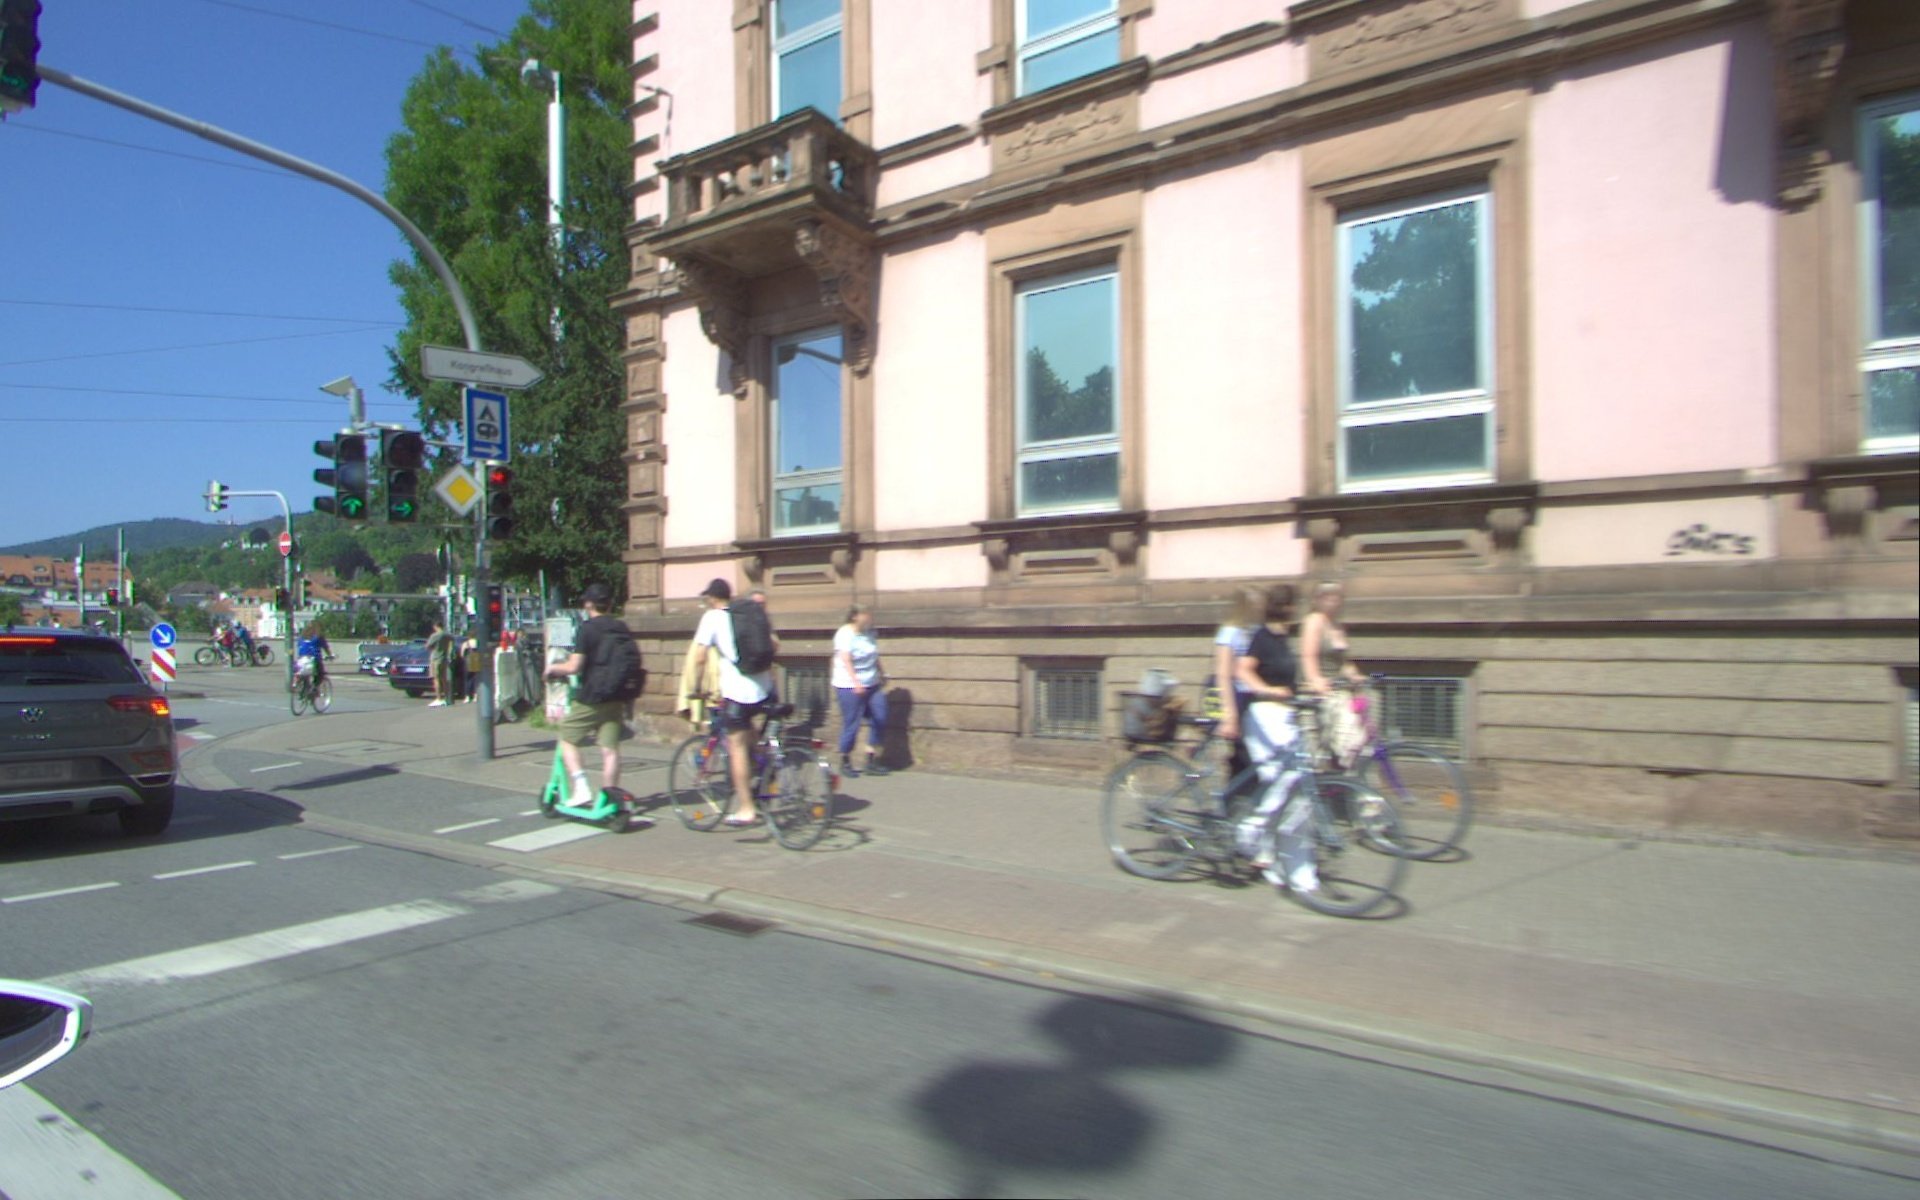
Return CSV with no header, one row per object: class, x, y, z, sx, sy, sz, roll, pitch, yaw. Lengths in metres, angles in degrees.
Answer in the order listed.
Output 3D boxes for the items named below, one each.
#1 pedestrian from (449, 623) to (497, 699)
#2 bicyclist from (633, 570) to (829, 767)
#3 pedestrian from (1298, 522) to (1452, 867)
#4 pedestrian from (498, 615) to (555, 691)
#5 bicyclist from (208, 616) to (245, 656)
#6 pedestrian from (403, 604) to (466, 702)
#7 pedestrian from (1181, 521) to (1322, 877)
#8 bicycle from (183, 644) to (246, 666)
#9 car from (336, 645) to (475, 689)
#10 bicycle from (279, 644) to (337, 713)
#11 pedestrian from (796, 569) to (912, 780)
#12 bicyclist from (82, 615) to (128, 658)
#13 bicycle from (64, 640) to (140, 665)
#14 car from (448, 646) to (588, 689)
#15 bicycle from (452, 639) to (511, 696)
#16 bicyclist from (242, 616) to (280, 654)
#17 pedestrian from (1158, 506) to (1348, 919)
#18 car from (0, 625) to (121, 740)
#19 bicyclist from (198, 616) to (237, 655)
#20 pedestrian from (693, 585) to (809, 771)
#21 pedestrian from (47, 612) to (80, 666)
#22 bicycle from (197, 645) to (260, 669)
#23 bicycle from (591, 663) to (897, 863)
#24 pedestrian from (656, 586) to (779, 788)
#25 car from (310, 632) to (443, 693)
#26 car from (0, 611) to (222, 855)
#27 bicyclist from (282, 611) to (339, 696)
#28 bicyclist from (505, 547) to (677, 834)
pedestrian,-11.418,1.405,23.481,0.880,1.733,0.672,0,0,34
bicyclist,-1.570,0.438,6.937,0.958,1.235,0.919,0,0,31
pedestrian,2.689,0.554,6.461,0.803,2.041,0.810,0,2,31
pedestrian,-10.755,1.319,24.862,0.690,1.803,1.057,-4,-3,21
bicyclist,-28.675,1.407,39.160,1.068,1.492,0.758,2,-2,-30
pedestrian,-11.284,1.114,21.511,1.044,2.040,0.773,0,0,32
pedestrian,1.815,0.569,6.199,0.689,2.041,0.659,0,1,31
bicycle,-29.557,2.188,39.710,0.559,0.837,1.930,0,-2,41
car,-21.218,2.513,38.534,1.818,1.413,4.470,0,0,26
bicycle,-12.320,1.444,18.969,0.607,1.179,2.241,1,-1,-25
pedestrian,-1.011,0.673,9.573,0.890,1.917,0.633,0,1,31
bicyclist,-29.976,1.282,35.120,0.791,1.492,1.075,0,-2,41
bicycle,-29.986,1.842,35.014,0.559,0.837,1.930,0,-2,41
car,-15.512,2.325,35.363,1.852,1.375,4.303,0,-2,27
bicycle,-11.220,1.601,23.444,0.792,1.220,2.261,-2,-3,-36
bicyclist,-28.195,1.413,40.383,0.918,1.492,1.074,0,-2,45
pedestrian,1.620,0.552,5.479,0.803,2.041,0.810,0,2,31
car,-14.391,1.149,14.963,4.231,1.509,1.987,0,-2,38
bicyclist,-29.474,1.415,39.756,0.918,1.492,1.074,0,-2,43
pedestrian,-2.104,0.760,10.107,0.890,1.775,0.704,-1,0,31
pedestrian,-31.891,1.372,35.615,0.637,1.879,0.770,0,-1,40
bicycle,-28.629,2.233,39.213,1.918,0.864,0.562,3,-2,-30
bicycle,-1.529,1.042,6.943,2.107,1.117,0.777,0,1,31
pedestrian,-2.269,0.774,9.393,0.890,1.792,0.704,0,0,31
car,-15.743,1.647,27.256,1.963,1.455,3.996,1,-1,-12
car,-7.500,0.863,7.686,3.941,1.536,1.923,-1,0,37
bicyclist,-12.402,0.995,19.138,0.765,1.574,1.055,0,0,-25
bicyclist,-2.837,0.652,7.736,0.818,2.040,0.940,0,0,31
